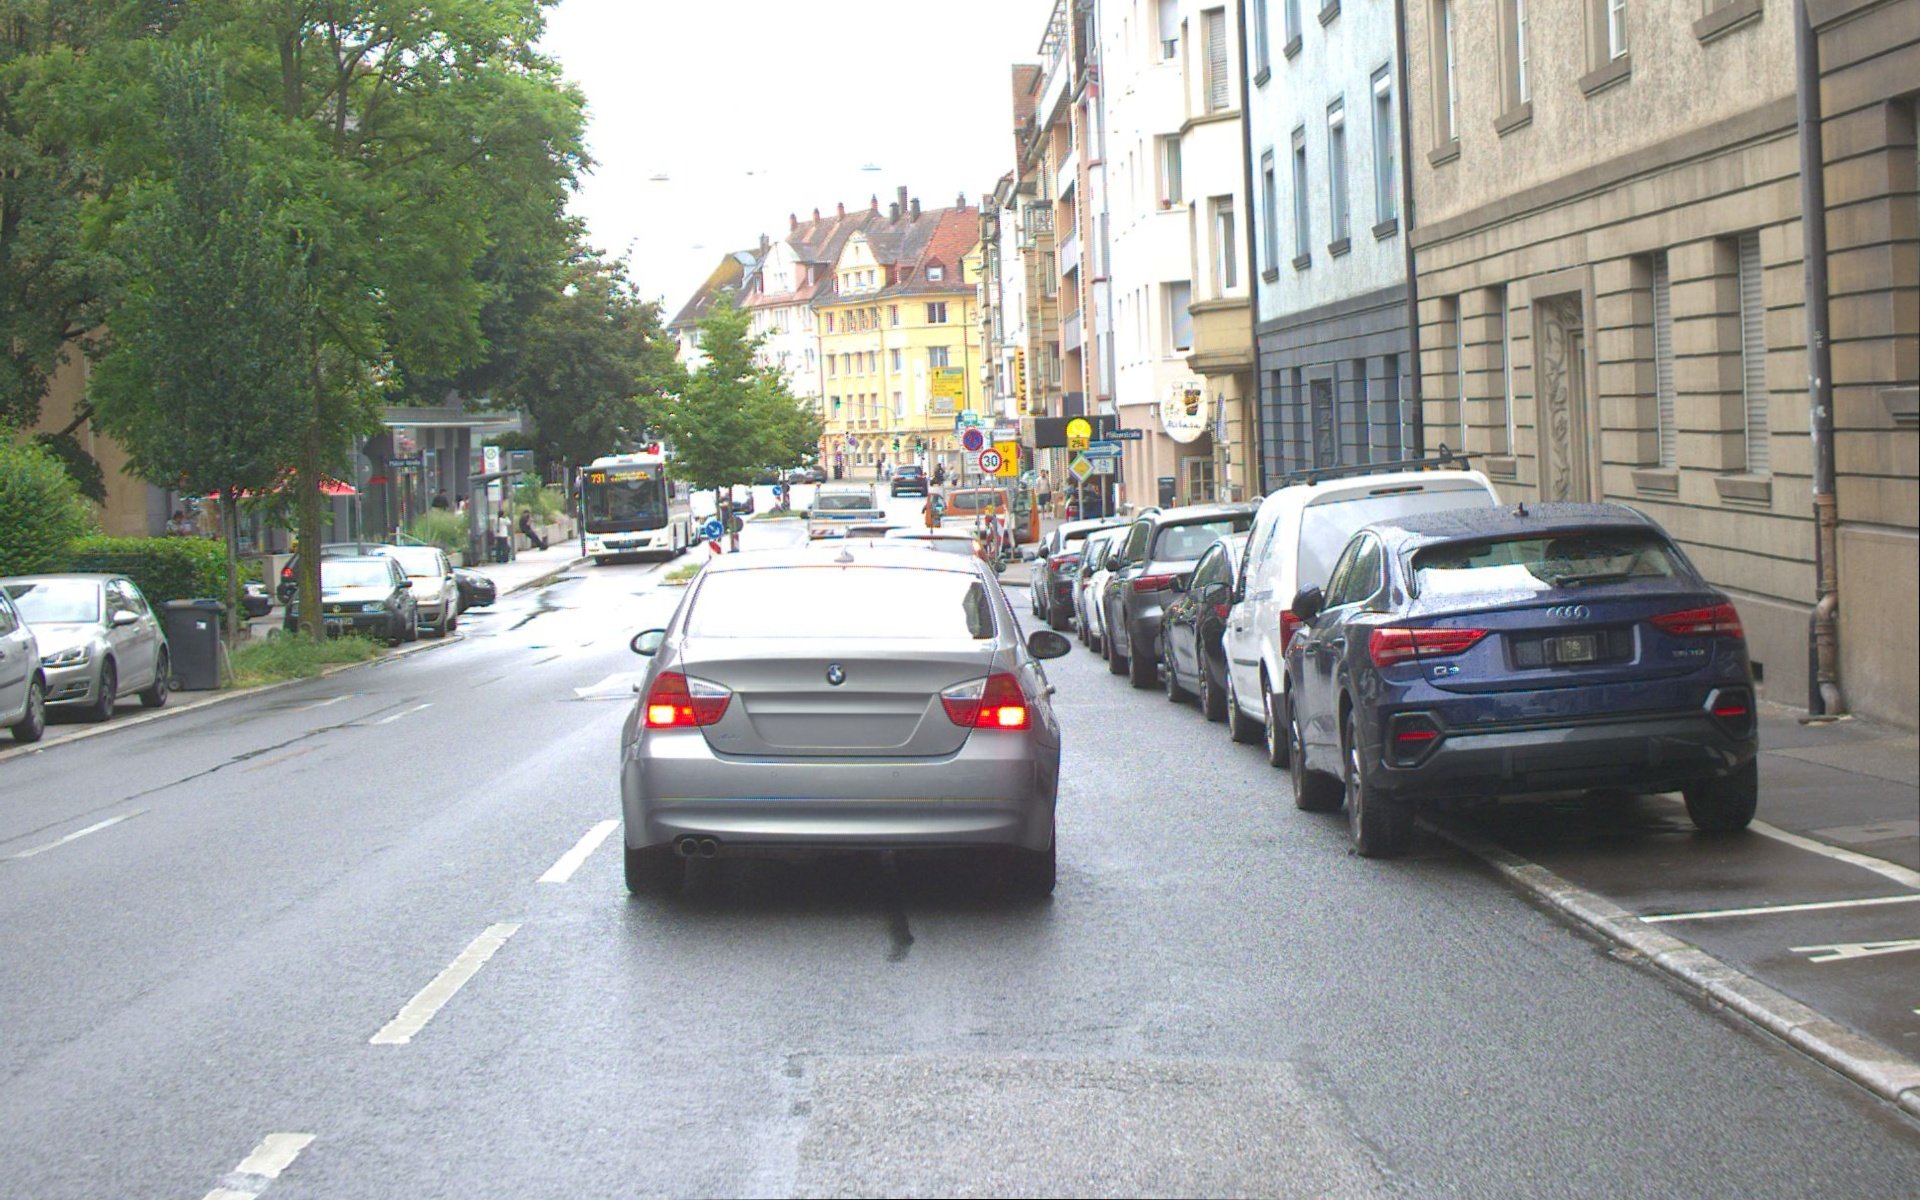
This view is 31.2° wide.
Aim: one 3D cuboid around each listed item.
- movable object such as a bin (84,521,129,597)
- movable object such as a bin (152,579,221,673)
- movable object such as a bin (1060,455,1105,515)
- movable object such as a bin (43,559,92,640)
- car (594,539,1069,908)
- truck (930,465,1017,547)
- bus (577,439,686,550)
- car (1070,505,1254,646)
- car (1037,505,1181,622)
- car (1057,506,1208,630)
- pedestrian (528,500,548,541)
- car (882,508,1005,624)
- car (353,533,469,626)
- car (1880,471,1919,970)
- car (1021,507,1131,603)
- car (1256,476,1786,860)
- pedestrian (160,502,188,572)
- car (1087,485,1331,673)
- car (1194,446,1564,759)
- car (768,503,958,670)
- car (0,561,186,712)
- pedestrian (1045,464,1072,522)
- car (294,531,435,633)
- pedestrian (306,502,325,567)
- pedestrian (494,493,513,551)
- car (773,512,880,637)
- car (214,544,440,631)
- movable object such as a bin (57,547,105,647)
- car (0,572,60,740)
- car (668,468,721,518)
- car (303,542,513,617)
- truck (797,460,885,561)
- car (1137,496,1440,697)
[{"bbox_3d":[-11.885,-0.576,47.880,0.426,1.037,0.650,-2,2,-2],"label":"movable object such as a bin"},{"bbox_3d":[-8.981,0.299,39.935,0.630,1.054,0.600,-3,0,-1],"label":"movable object such as a bin"},{"bbox_3d":[3.615,-3.388,101.715,1.122,1.697,1.434,-3,1,-3],"label":"movable object such as a bin"},{"bbox_3d":[-11.795,-0.013,45.452,0.439,1.036,0.650,-2,2,-2],"label":"movable object such as a bin"},{"bbox_3d":[-0.510,0.443,14.409,1.756,1.358,3.165,-1,1,-1],"label":"car"},{"bbox_3d":[0.341,-2.566,94.557,2.215,2.109,4.652,2,1,-1],"label":"truck"},{"bbox_3d":[-10.205,-3.206,107.735,2.681,3.189,11.957,1,1,-2],"label":"bus"},{"bbox_3d":[2.318,-0.329,40.380,1.729,1.424,3.974,-5,2,-1],"label":"car"},{"bbox_3d":[2.172,-0.571,51.108,1.818,1.552,4.293,-4,1,-1],"label":"car"},{"bbox_3d":[2.211,-0.451,44.816,1.583,1.424,3.595,-5,2,-1],"label":"car"},{"bbox_3d":[-14.435,-2.716,117.566,0.619,1.373,0.544,1,0,0],"label":"pedestrian"},{"bbox_3d":[-0.182,-0.423,42.440,1.435,1.352,3.762,1,1,0],"label":"car"},{"bbox_3d":[-9.339,-0.375,58.700,1.631,1.449,3.840,-2,2,-5],"label":"car"},{"bbox_3d":[2.855,0.530,4.965,1.632,1.632,4.196,-5,1,-3],"label":"car"},{"bbox_3d":[1.919,-0.778,57.864,1.569,1.459,4.089,-4,1,-1],"label":"car"},{"bbox_3d":[2.598,0.231,16.911,1.790,1.542,4.226,-4,2,0],"label":"car"},{"bbox_3d":[-20.497,-1.647,89.633,0.633,1.809,0.638,-3,2,-12],"label":"pedestrian"},{"bbox_3d":[2.365,-0.234,33.635,1.840,1.615,4.209,-4,1,-2],"label":"car"},{"bbox_3d":[2.713,-0.041,23.139,1.790,1.811,4.080,-4,2,-1],"label":"car"},{"bbox_3d":[-0.924,-0.135,31.048,1.601,1.415,3.288,1,1,-3],"label":"car"},{"bbox_3d":[-9.110,0.328,34.801,1.682,1.385,3.936,0,1,0],"label":"car"},{"bbox_3d":[2.838,-3.078,98.923,0.750,1.655,0.755,1,0,0],"label":"pedestrian"},{"bbox_3d":[-9.339,-0.316,54.175,1.653,1.449,3.943,-2,2,-3],"label":"car"},{"bbox_3d":[-17.928,-1.823,95.640,0.464,1.783,0.545,1,0,-8],"label":"pedestrian"},{"bbox_3d":[-13.569,-2.325,102.120,0.542,1.703,0.466,1,0,-7],"label":"pedestrian"},{"bbox_3d":[-2.273,-0.442,57.691,1.705,2.007,4.001,1,1,-3],"label":"car"},{"bbox_3d":[-11.775,-0.249,64.098,3.816,1.385,1.743,-2,3,2],"label":"car"},{"bbox_3d":[-11.802,-0.046,46.173,0.439,1.304,0.650,-2,2,-2],"label":"movable object such as a bin"},{"bbox_3d":[-8.934,0.503,28.953,1.682,1.385,3.909,-1,1,0],"label":"car"},{"bbox_3d":[-11.075,-4.449,143.606,1.993,2.007,4.000,1,1,-2],"label":"car"},{"bbox_3d":[-10.722,-0.407,66.957,3.815,1.385,1.743,-1,1,-2],"label":"car"},{"bbox_3d":[-3.107,-2.308,89.853,2.216,2.535,4.780,1,1,-2],"label":"truck"},{"bbox_3d":[2.633,-0.082,28.520,1.840,1.404,4.388,-4,1,-2],"label":"car"}]
